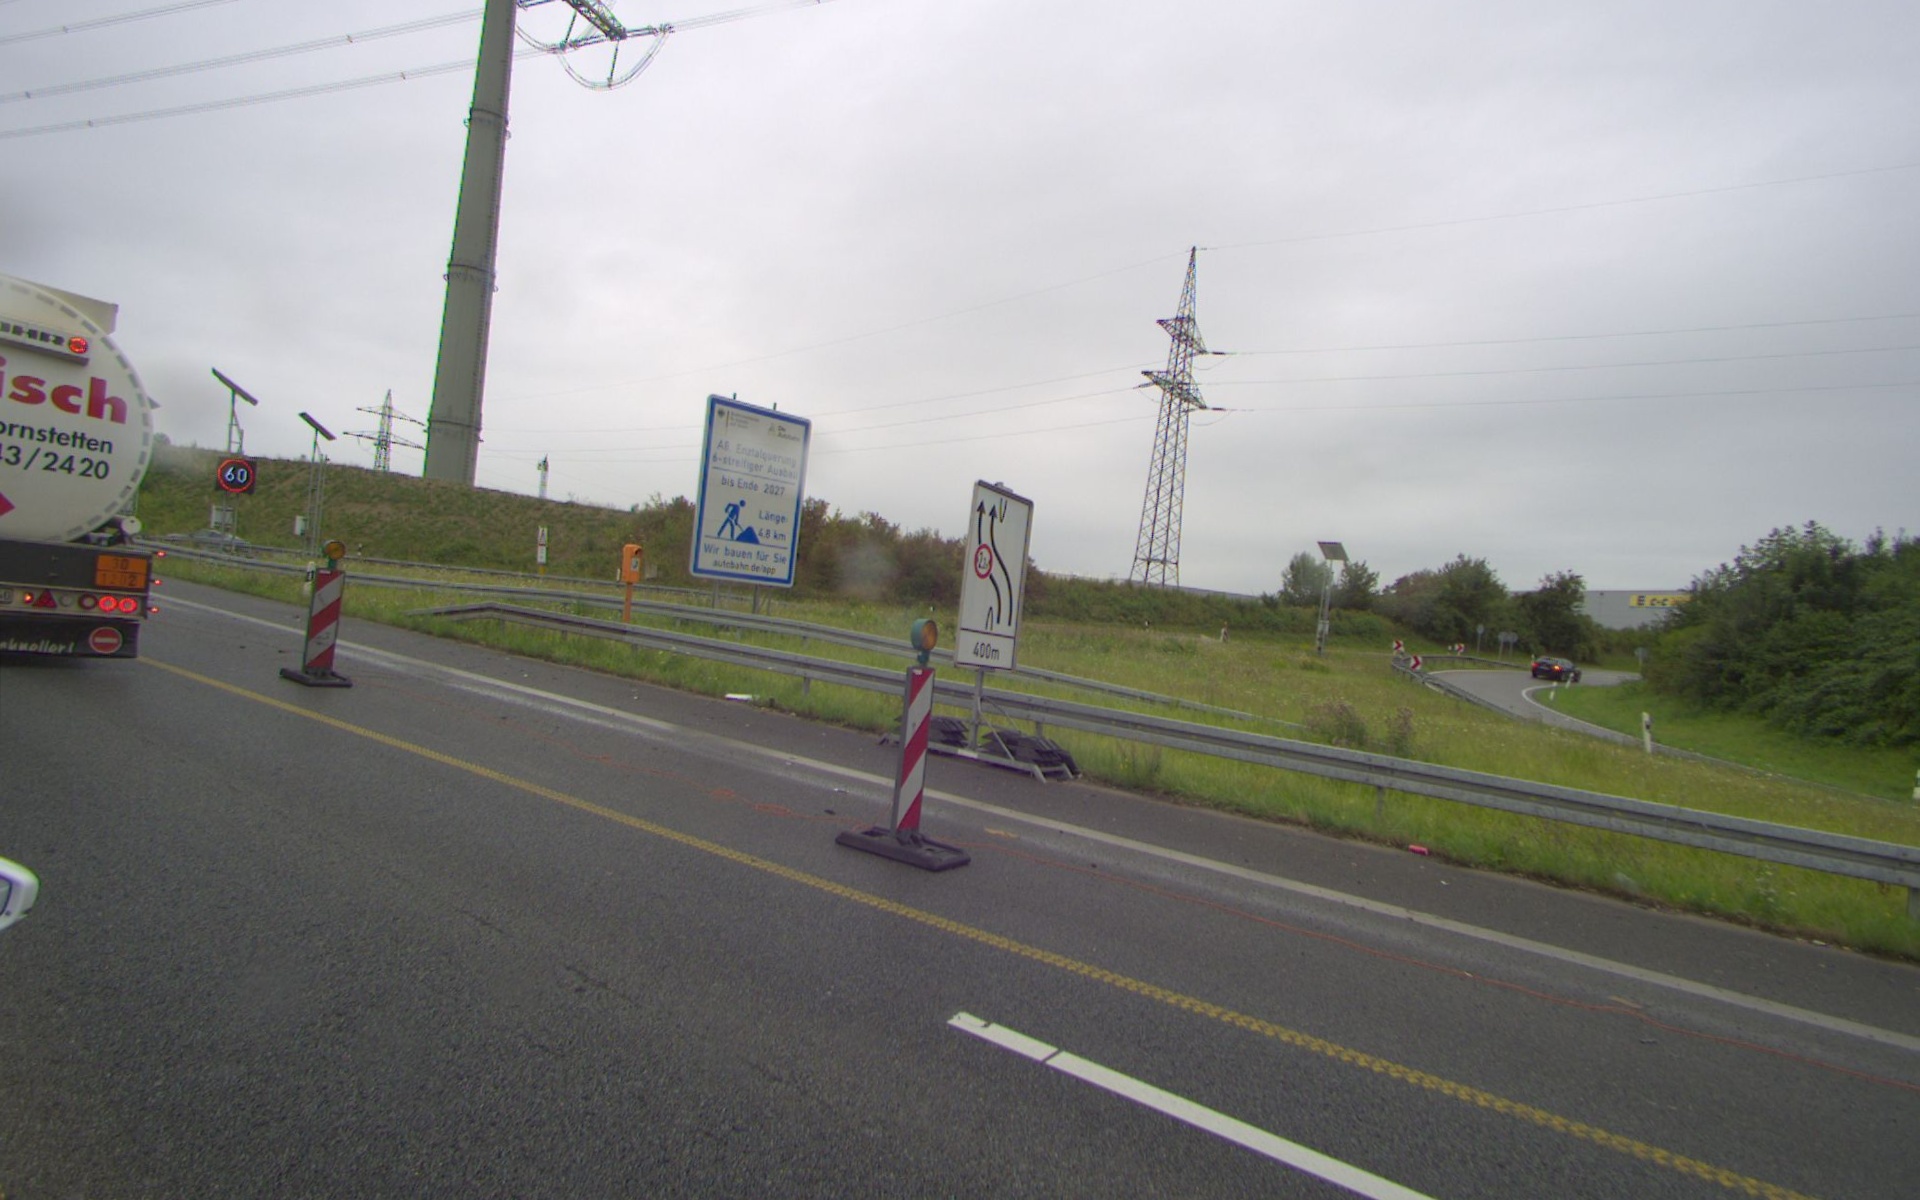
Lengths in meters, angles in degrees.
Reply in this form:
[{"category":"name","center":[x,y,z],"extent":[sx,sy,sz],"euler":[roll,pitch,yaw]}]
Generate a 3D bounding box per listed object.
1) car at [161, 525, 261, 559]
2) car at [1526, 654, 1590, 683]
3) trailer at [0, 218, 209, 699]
[{"category":"car","center":[-37.812,-2.914,50.830],"extent":[3.835,1.175,1.486],"euler":[7,1,-1]},{"category":"car","center":[39.943,4.575,67.134],"extent":[4.554,1.466,1.979],"euler":[7,0,-37]},{"category":"trailer","center":[-12.390,-1.612,11.092],"extent":[10.369,3.938,2.643],"euler":[6,-2,32]}]
